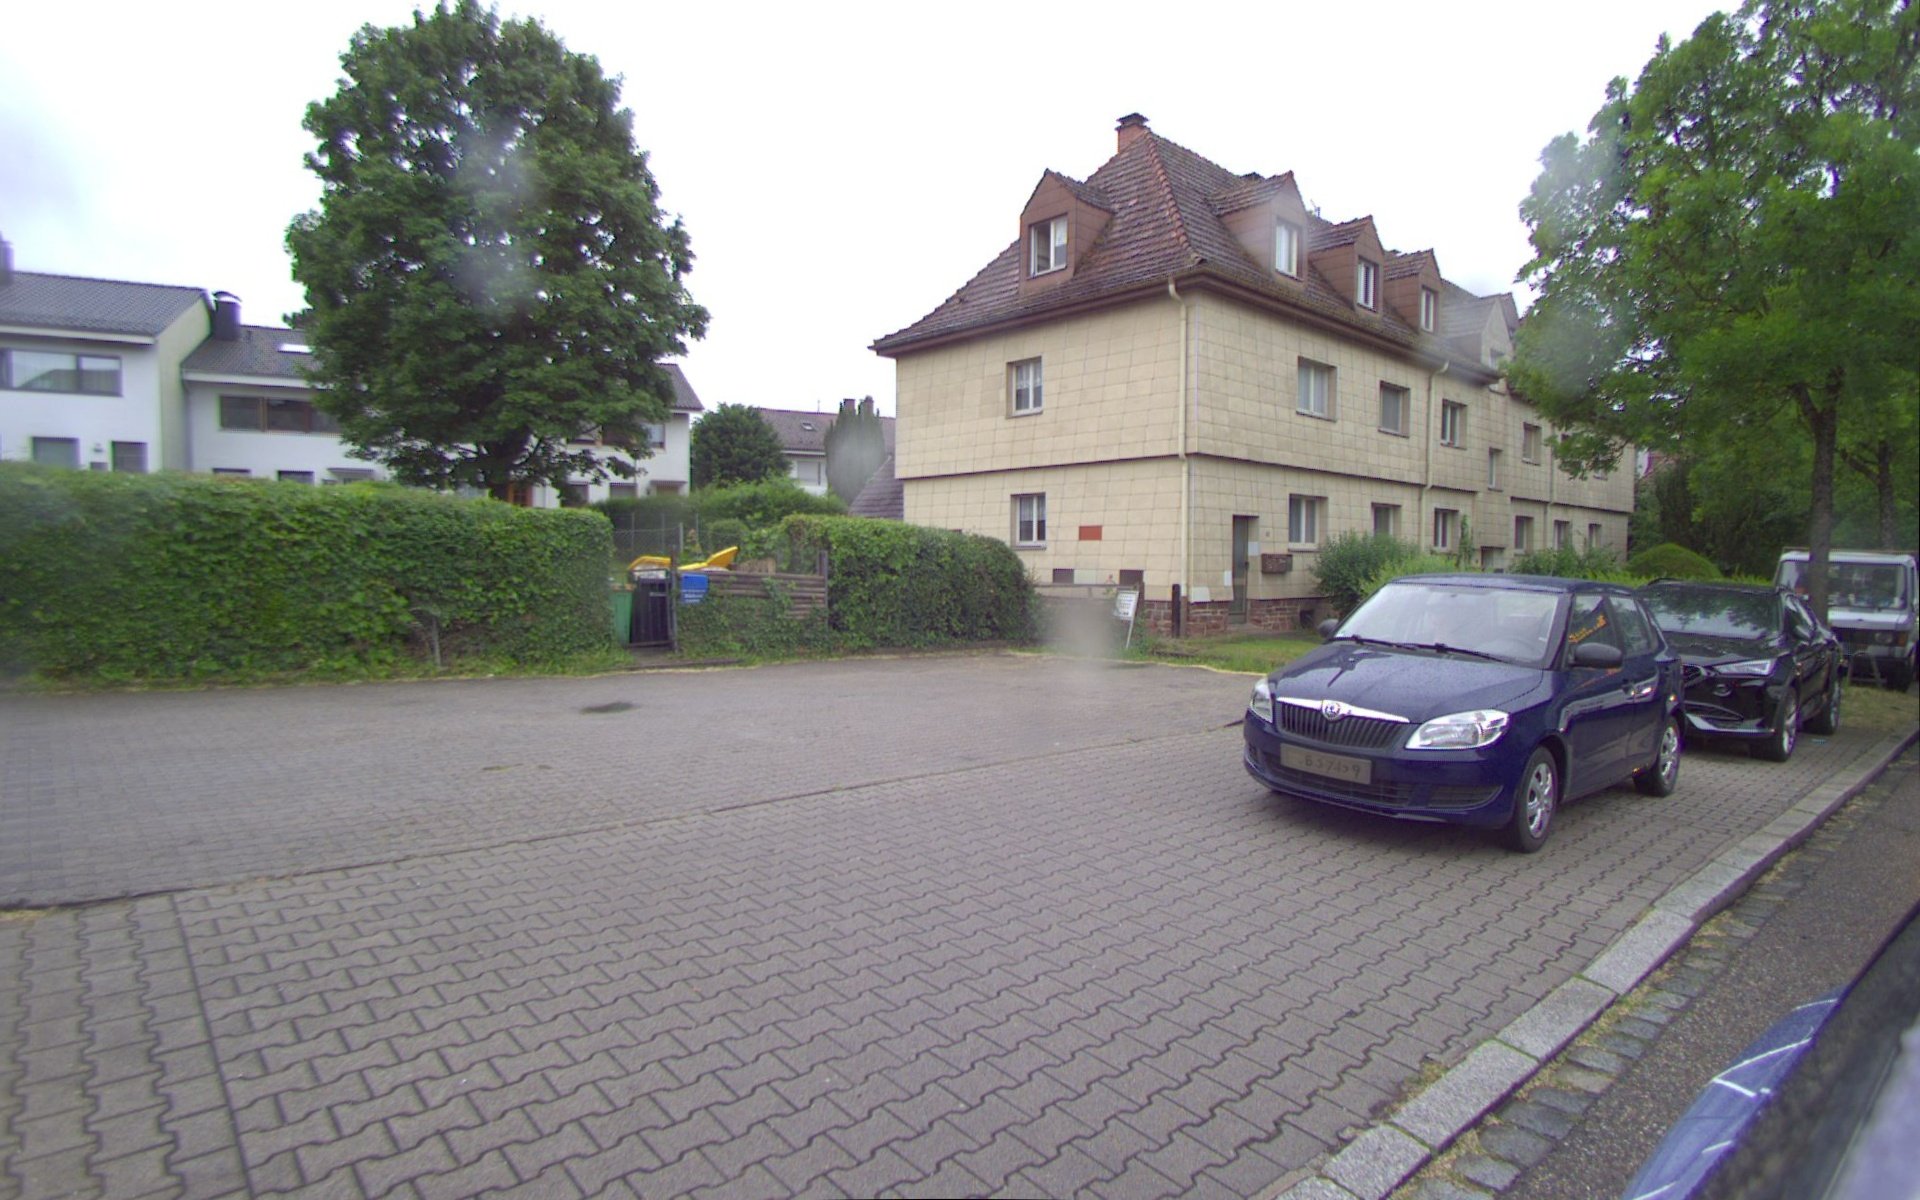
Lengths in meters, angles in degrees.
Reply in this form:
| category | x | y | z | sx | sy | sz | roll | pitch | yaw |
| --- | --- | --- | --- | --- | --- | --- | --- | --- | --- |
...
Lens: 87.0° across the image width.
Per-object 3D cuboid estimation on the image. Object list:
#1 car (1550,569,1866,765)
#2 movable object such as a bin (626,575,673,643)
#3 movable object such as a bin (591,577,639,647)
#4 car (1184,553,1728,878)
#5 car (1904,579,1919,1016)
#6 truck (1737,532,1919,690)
| category | x | y | z | sx | sy | sz | roll | pitch | yaw |
| --- | --- | --- | --- | --- | --- | --- | --- | --- | --- |
| car | 7.462 | 0.487 | 9.955 | 3.932 | 1.481 | 1.719 | -1 | 4 | -42 |
| movable object such as a bin | -4.441 | 0.124 | 14.480 | 0.441 | 0.954 | 0.539 | 0 | 0 | -45 |
| movable object such as a bin | -4.808 | 0.157 | 14.099 | 0.441 | 0.954 | 0.539 | 0 | 0 | -45 |
| car | 3.377 | 0.480 | 6.562 | 3.930 | 1.441 | 1.719 | -1 | 4 | -41 |
| car | 5.593 | 0.688 | 4.285 | 4.240 | 1.548 | 1.881 | 0 | -1 | -41 |
| truck | 14.943 | 0.117 | 16.829 | 5.653 | 2.224 | 1.998 | 0 | 2 | -40 |
